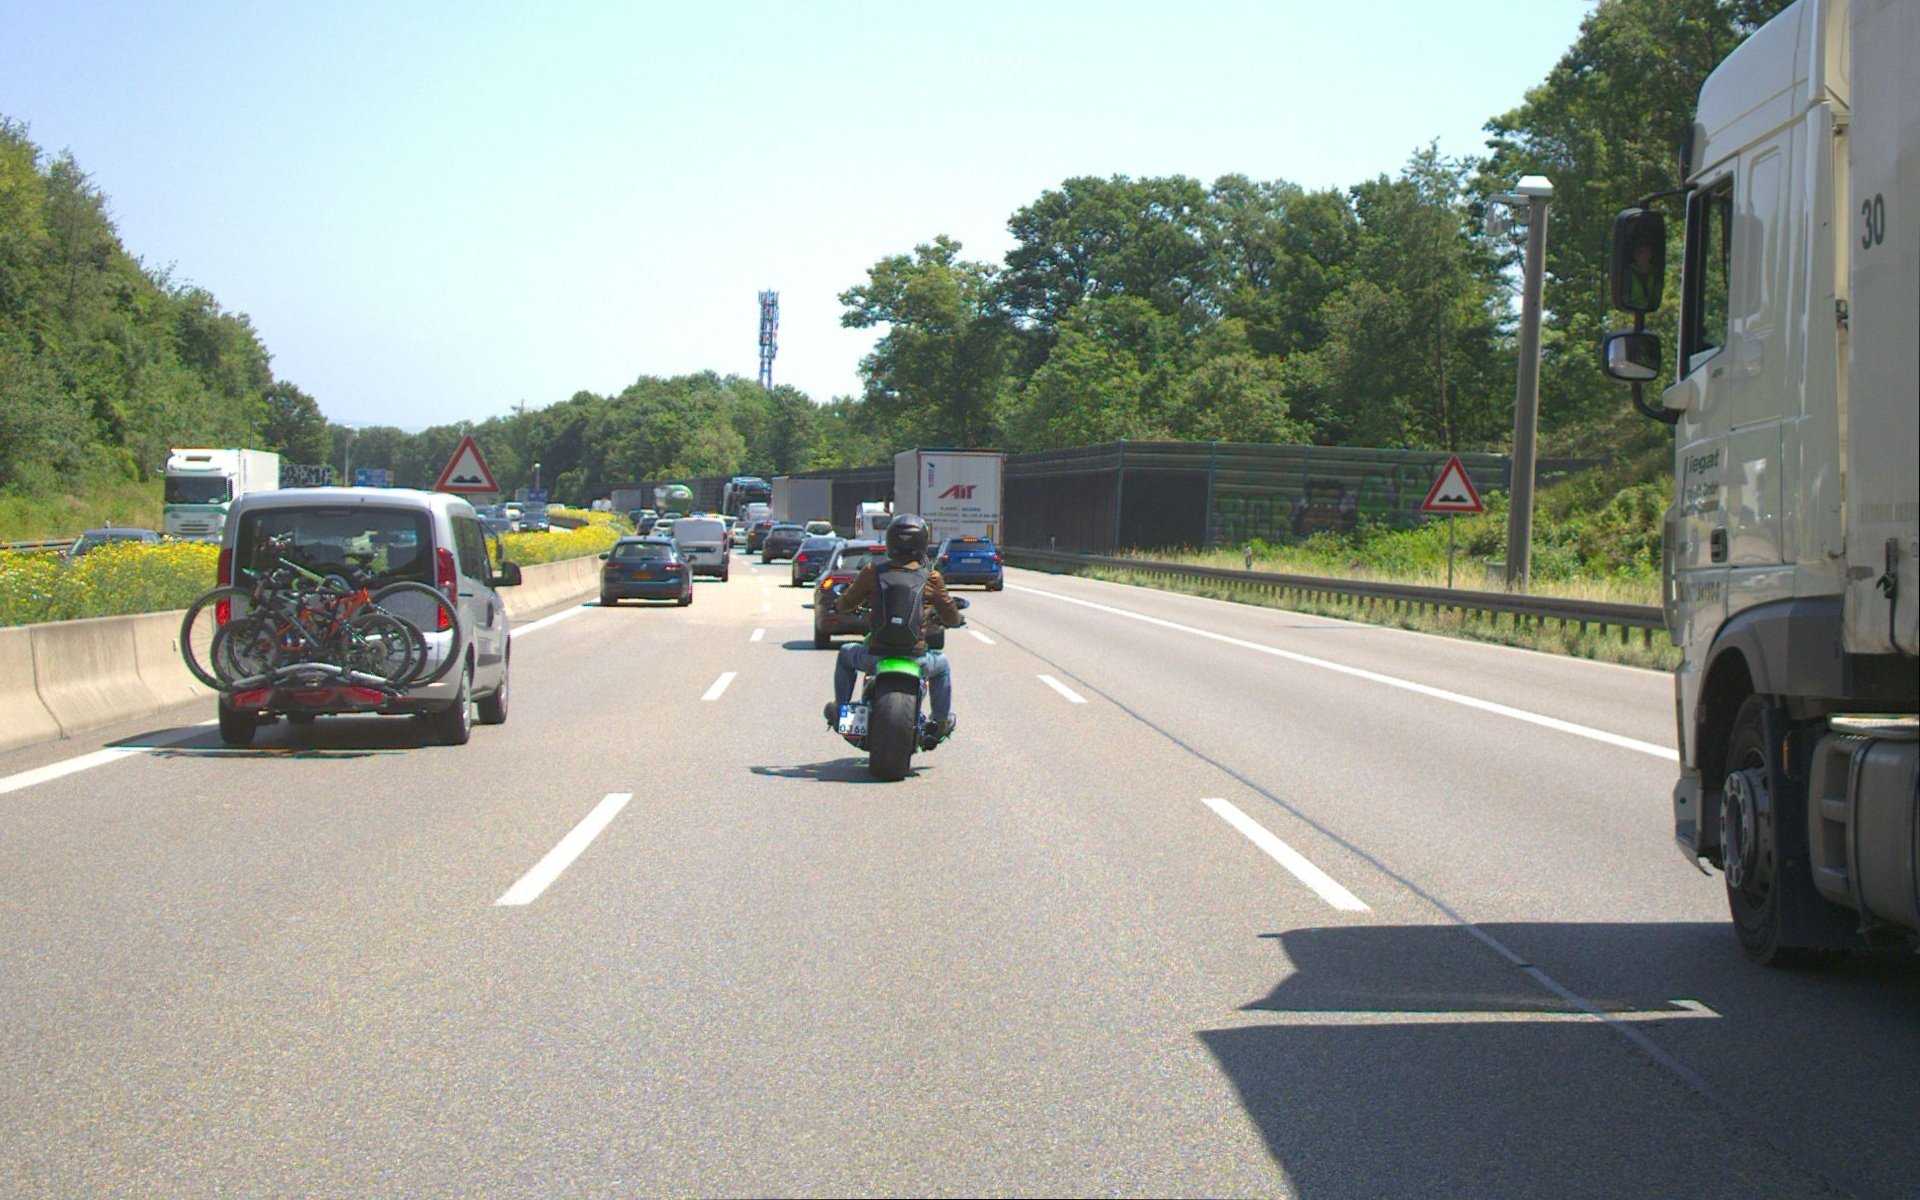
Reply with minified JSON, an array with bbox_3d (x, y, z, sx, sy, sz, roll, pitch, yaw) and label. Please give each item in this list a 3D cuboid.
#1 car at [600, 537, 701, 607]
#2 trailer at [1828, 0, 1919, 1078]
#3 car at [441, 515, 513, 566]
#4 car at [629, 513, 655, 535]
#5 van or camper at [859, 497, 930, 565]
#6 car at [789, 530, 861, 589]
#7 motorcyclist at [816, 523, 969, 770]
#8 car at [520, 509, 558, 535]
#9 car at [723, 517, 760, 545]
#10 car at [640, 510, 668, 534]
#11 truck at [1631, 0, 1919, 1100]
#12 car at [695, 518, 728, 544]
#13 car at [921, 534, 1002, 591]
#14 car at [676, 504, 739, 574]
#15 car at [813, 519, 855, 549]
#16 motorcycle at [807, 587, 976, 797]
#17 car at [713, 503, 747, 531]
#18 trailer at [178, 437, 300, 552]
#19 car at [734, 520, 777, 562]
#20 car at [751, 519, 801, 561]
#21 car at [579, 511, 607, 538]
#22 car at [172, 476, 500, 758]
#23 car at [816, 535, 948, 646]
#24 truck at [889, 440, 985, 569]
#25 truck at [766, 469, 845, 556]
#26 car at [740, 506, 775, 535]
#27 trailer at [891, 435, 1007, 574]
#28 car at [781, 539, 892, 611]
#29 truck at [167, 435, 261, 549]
[{"bbox_3d":[-6.359,-0.578,70.894,1.993,1.382,4.001,1,0,-4],"label":"car"},{"bbox_3d":[4.172,-0.525,3.996,2.786,4.190,13.245,1,2,0],"label":"trailer"},{"bbox_3d":[-16.336,-2.029,116.444,1.993,1.672,4.081,1,1,-2],"label":"car"},{"bbox_3d":[-23.566,-5.613,255.147,1.839,1.624,4.001,1,1,-4],"label":"car"},{"bbox_3d":[-2.866,-2.951,148.475,2.685,2.803,6.804,1,0,-4],"label":"van or camper"},{"bbox_3d":[-3.723,-1.105,94.178,1.779,1.547,3.585,1,0,-5],"label":"car"},{"bbox_3d":[-0.410,0.274,21.574,0.899,1.470,1.872,1,0,0],"label":"motorcyclist"},{"bbox_3d":[-25.484,-4.732,208.207,1.993,1.481,4.000,1,0,-3],"label":"car"},{"bbox_3d":[-11.922,-3.757,187.448,1.832,1.491,3.744,1,0,-5],"label":"car"},{"bbox_3d":[-20.679,-5.273,232.470,1.832,1.491,3.744,1,0,-5],"label":"car"},{"bbox_3d":[4.117,-0.714,10.786,2.786,4.190,5.870,1,2,0],"label":"truck"},{"bbox_3d":[-14.713,-4.096,203.665,1.832,1.491,3.744,1,0,-5],"label":"car"},{"bbox_3d":[0.022,-1.014,92.717,1.650,1.477,4.483,1,1,-7],"label":"car"},{"bbox_3d":[-7.468,-1.798,101.849,1.791,2.007,3.642,1,0,-4],"label":"car"},{"bbox_3d":[-7.043,-3.682,191.811,1.993,1.568,4.001,1,0,-6],"label":"car"},{"bbox_3d":[-0.412,0.538,21.608,0.964,1.144,2.812,1,2,0],"label":"motorcycle"},{"bbox_3d":[-16.055,-5.798,239.823,2.107,1.870,4.001,1,0,-7],"label":"car"},{"bbox_3d":[-28.118,-4.017,134.674,2.714,4.193,13.935,1,0,-4],"label":"trailer"},{"bbox_3d":[-9.970,-2.884,167.746,1.911,2.007,3.691,1,0,-6],"label":"car"},{"bbox_3d":[-7.518,-2.421,140.027,1.993,1.634,4.001,1,0,-3],"label":"car"},{"bbox_3d":[-24.978,-5.132,233.969,1.780,1.816,3.907,1,1,-5],"label":"car"},{"bbox_3d":[-4.464,0.096,25.193,1.899,1.867,4.413,1,0,-4],"label":"car"},{"bbox_3d":[-1.111,-0.146,47.501,1.662,1.448,3.869,1,0,-3],"label":"car"},{"bbox_3d":[-0.810,-3.175,114.667,2.885,4.131,5.987,1,1,-3],"label":"truck"},{"bbox_3d":[-9.194,-5.142,203.674,3.802,4.943,8.953,1,0,-8],"label":"truck"},{"bbox_3d":[-13.809,-5.426,234.471,2.107,1.870,4.001,1,0,-7],"label":"car"},{"bbox_3d":[-0.463,-2.989,107.848,2.885,4.024,13.797,1,1,-3],"label":"trailer"},{"bbox_3d":[-2.587,-0.522,71.199,1.993,1.425,3.848,1,0,-7],"label":"car"},{"bbox_3d":[-27.626,-3.962,127.515,2.689,4.076,5.204,1,0,-4],"label":"truck"}]
